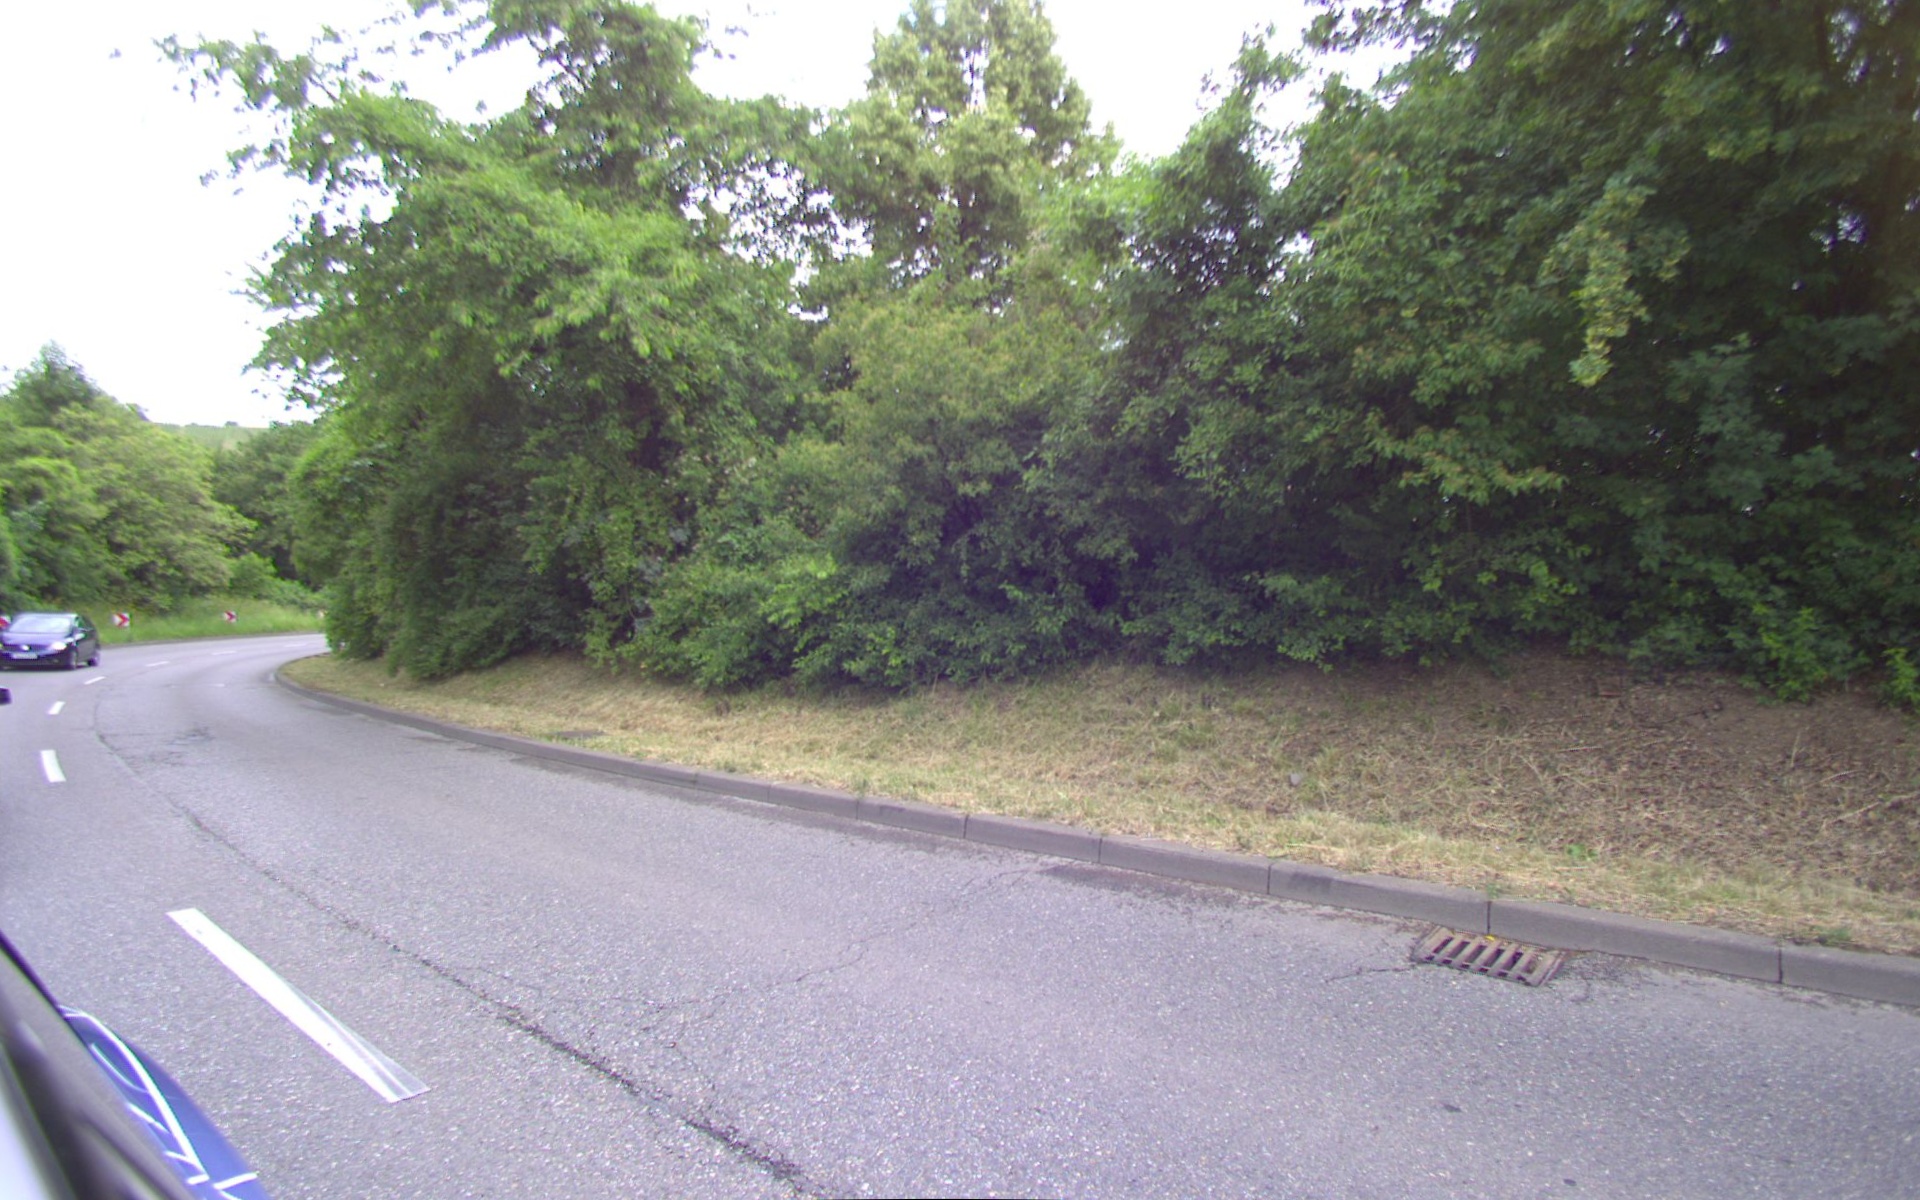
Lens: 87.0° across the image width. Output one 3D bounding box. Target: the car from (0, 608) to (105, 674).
[{"bbox_3d":[-25.028,1.094,27.844,1.528,1.657,3.751,4,-2,-29],"label":"car"}]
